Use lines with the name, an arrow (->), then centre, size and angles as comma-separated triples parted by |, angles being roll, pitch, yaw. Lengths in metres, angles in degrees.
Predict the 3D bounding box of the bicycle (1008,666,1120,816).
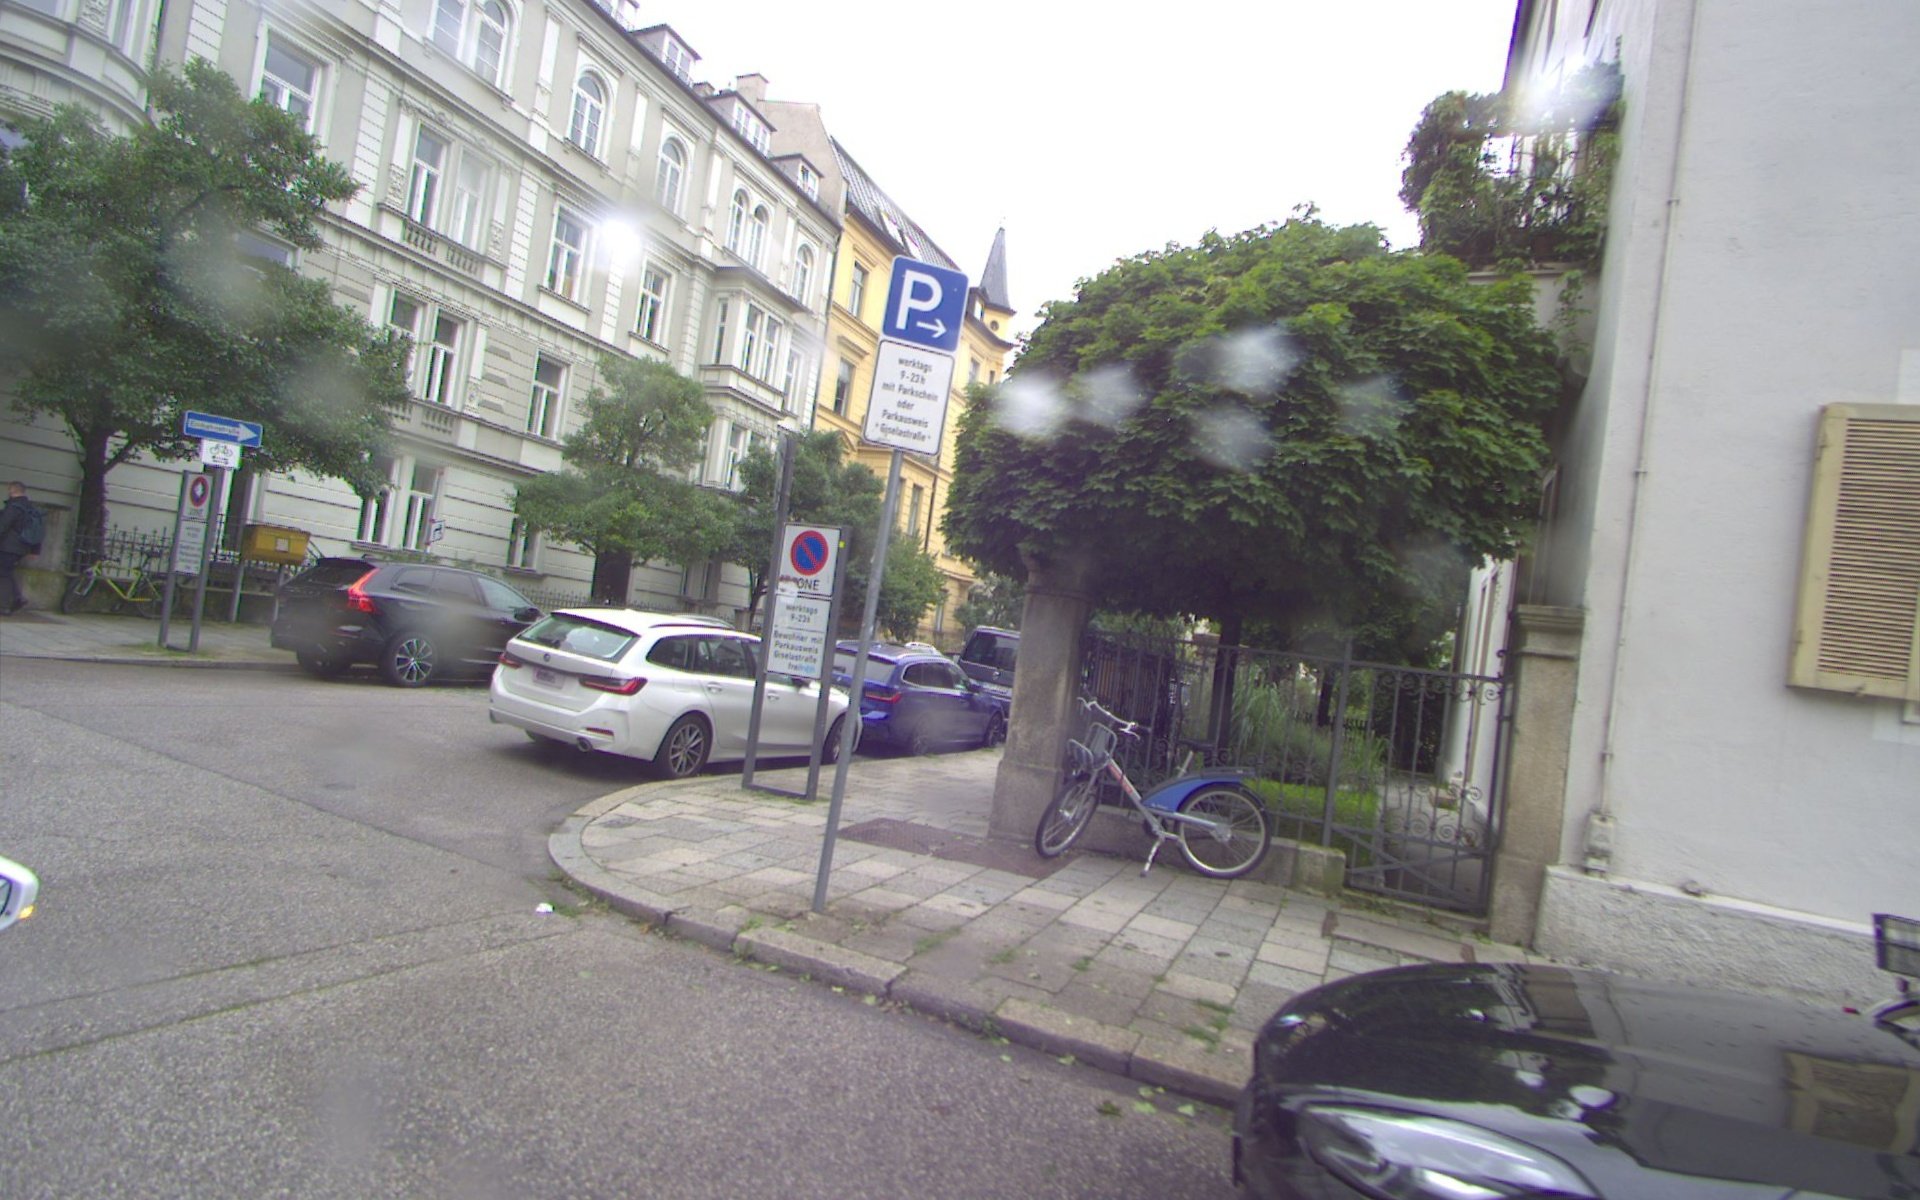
bicycle -> 1.083, 1.376, 10.028 | 0.459, 1.289, 1.922 | 8, -3, 21

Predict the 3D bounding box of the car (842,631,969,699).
car -> -1.396, 1.873, 27.953 | 1.701, 1.557, 4.340 | 3, -5, 23

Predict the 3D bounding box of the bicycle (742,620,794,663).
bicycle -> -5.796, 1.270, 30.430 | 0.366, 1.114, 1.833 | 8, -2, 27

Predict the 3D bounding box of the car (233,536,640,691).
car -> -7.187, 0.346, 14.579 | 1.909, 1.669, 5.058 | 3, -5, 23

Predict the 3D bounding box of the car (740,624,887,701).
car -> -3.343, 1.525, 23.697 | 1.678, 1.533, 3.729 | 5, -3, 22

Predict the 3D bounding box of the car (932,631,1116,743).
car -> 1.441, 1.743, 20.080 | 1.991, 1.709, 4.853 | 7, -2, 23

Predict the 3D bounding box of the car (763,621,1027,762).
car -> -0.748, 1.420, 15.395 | 1.900, 1.523, 4.880 | 9, -3, 23

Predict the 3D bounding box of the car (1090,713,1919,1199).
car -> 2.706, 1.277, 1.915 | 4.512, 1.335, 2.005 | 7, 0, 23

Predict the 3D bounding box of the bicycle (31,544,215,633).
bicycle -> -12.339, -0.143, 14.905 | 0.547, 1.039, 1.928 | 8, -2, 29

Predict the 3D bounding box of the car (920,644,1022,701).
car -> 0.446, 2.435, 33.093 | 1.893, 1.563, 4.004 | 3, -5, 23

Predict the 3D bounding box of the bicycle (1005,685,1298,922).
bicycle -> 1.284, 1.304, 6.767 | 1.743, 1.240, 0.544 | 7, -1, 18

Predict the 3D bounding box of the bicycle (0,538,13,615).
bicycle -> -14.103, -0.447, 14.178 | 1.857, 1.040, 0.431 | 8, -1, 28

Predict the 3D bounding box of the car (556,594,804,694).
car -> -5.149, 0.946, 19.428 | 1.777, 1.521, 5.182 | 5, -3, 21

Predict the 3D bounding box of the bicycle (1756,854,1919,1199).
bicycle -> 4.017, 1.655, 3.399 | 1.906, 1.076, 0.664 | 7, -1, 31

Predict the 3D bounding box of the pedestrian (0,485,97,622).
pedestrian -> -12.450, -0.614, 13.403 | 0.958, 1.709, 0.860 | 7, -1, -5

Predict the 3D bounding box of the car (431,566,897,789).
car -> -2.718, 0.839, 10.712 | 1.878, 1.549, 4.925 | 10, -1, 23
